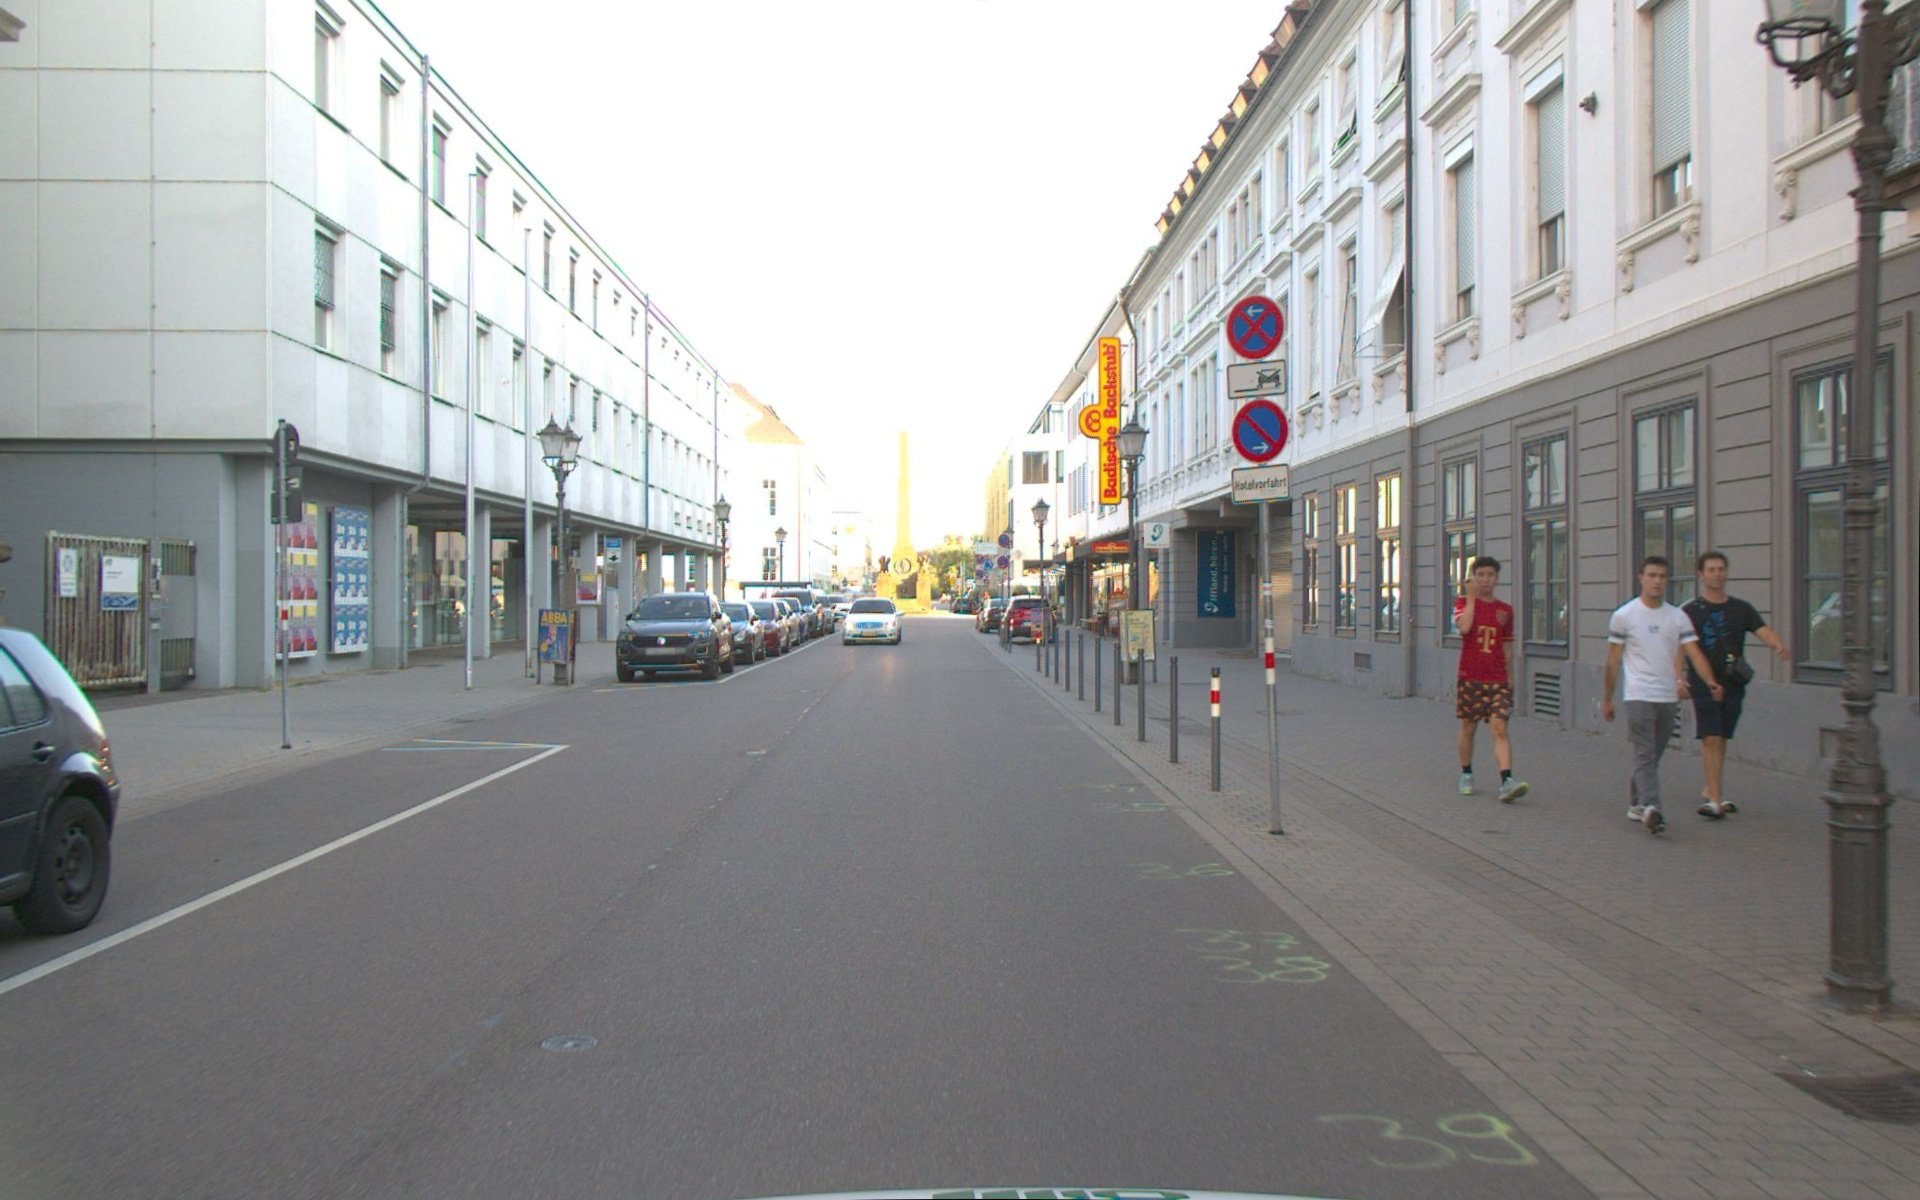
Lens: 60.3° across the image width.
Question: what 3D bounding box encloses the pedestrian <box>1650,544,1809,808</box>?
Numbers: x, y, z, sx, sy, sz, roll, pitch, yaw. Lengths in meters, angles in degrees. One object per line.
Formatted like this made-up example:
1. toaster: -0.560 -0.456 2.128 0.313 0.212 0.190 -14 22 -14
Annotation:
1. pedestrian: 5.309 0.504 11.459 0.699 1.760 0.873 0 0 1

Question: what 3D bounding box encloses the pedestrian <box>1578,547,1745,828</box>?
1. pedestrian: 4.565 0.551 10.821 0.732 1.760 0.881 0 0 2

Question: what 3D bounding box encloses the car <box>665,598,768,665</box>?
1. car: -5.518 0.678 37.909 1.748 1.433 4.088 -1 0 0

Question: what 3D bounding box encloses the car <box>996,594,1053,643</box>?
1. car: 2.115 0.593 54.936 1.723 1.550 3.676 0 0 -1

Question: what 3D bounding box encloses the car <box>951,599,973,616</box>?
1. car: 0.185 0.686 150.410 1.952 1.489 4.000 0 0 0

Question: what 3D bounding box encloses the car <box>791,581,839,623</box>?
1. car: -6.707 0.084 76.248 1.956 1.847 4.775 0 0 -8

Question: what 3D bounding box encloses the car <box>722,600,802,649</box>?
1. car: -5.859 0.707 49.322 1.953 1.378 3.999 0 0 -1

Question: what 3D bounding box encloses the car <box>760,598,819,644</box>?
1. car: -5.583 0.654 54.514 1.639 1.424 3.998 -1 0 -2

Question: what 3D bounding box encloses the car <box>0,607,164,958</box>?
1. car: -5.143 0.805 6.591 1.953 1.520 4.164 -1 0 -1

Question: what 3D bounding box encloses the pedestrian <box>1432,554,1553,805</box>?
1. pedestrian: 4.005 0.578 12.491 0.607 1.821 0.913 0 0 0

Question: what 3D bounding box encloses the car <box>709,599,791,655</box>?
1. car: -5.695 0.700 45.291 1.748 1.433 4.088 -1 0 0

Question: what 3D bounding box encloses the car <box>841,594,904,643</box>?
1. car: -2.704 0.551 51.788 1.748 1.433 4.088 -1 0 0

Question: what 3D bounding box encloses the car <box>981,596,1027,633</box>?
1. car: 1.793 0.576 68.779 1.765 1.489 4.116 0 0 -1

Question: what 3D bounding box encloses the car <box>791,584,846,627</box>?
1. car: -5.718 0.207 67.156 1.953 1.691 3.999 0 0 -1

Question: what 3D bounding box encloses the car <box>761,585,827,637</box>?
1. car: -6.027 0.370 60.433 1.953 1.758 4.515 -2 0 -1

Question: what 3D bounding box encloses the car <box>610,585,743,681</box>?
1. car: -5.187 0.570 30.746 1.748 1.643 4.165 -1 0 0

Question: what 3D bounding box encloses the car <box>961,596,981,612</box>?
1. car: 1.053 0.373 158.902 1.952 1.489 4.000 0 0 0
